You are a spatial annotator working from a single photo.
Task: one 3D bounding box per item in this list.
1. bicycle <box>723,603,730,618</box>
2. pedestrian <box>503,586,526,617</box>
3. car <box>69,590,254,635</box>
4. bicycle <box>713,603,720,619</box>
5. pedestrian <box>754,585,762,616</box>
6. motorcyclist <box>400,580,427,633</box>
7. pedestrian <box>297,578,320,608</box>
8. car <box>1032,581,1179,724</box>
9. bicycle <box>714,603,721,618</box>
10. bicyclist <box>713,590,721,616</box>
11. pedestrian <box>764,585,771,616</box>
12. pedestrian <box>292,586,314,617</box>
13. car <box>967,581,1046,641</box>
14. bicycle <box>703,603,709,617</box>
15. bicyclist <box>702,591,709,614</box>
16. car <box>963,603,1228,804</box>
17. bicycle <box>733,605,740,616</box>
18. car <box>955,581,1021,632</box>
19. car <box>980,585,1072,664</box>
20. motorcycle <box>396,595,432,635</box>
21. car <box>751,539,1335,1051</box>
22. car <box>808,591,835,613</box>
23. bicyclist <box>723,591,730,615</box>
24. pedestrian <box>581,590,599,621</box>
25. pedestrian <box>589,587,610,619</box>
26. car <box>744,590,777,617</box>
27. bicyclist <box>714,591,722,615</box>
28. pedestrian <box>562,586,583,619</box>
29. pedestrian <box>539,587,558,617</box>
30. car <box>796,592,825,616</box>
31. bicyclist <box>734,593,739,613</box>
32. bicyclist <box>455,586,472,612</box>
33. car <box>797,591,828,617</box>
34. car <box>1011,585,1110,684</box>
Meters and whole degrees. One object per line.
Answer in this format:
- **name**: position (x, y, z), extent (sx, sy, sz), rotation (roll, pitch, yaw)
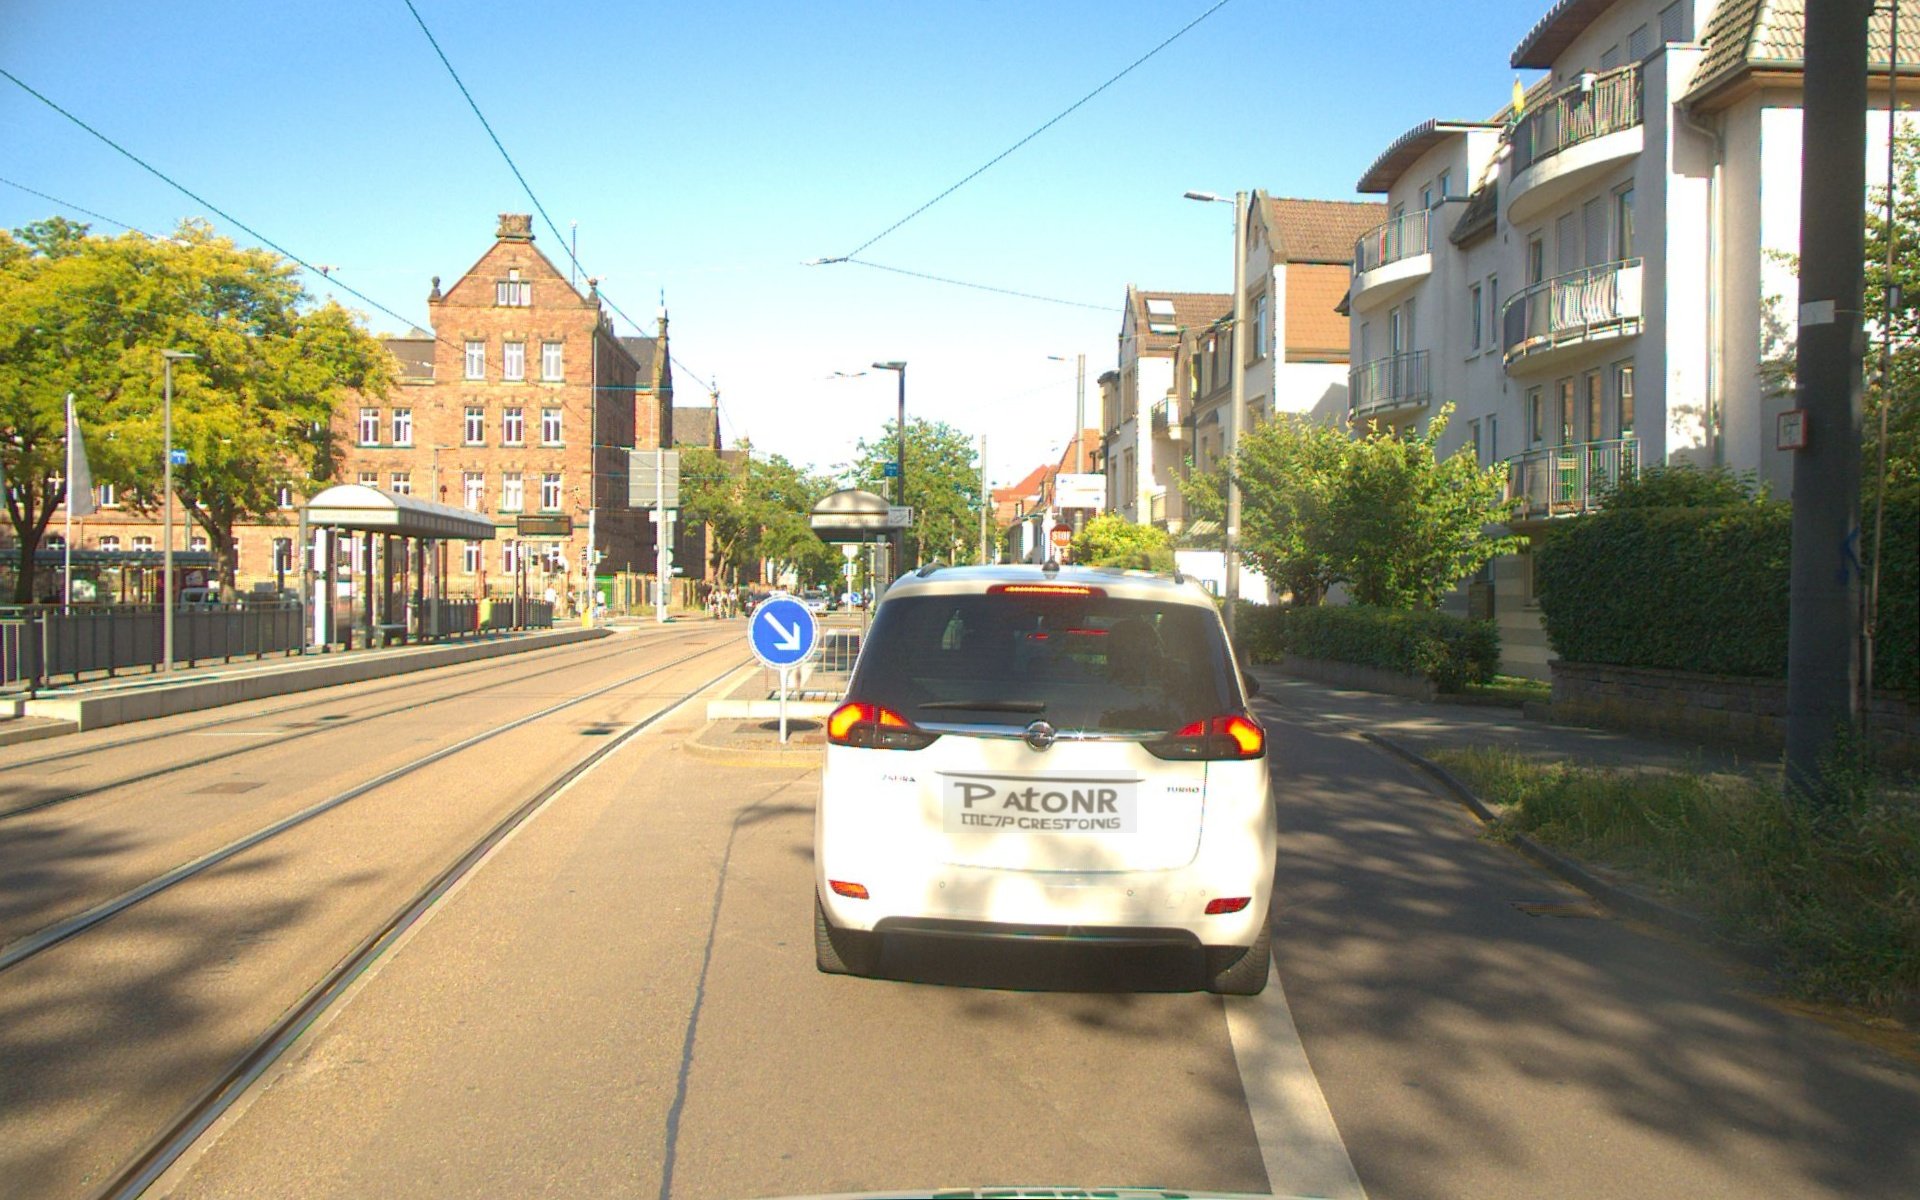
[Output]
- **bicycle**: position (-15.391, 0.687, 108.918), extent (0.337, 0.966, 0.996), rotation (1, 0, -4)
- **pedestrian**: position (-23.764, 0.068, 88.258), extent (0.928, 1.616, 0.791), rotation (1, -1, -44)
- **car**: position (-35.722, 0.546, 74.190), extent (6.810, 1.954, 2.991), rotation (0, 0, -2)
- **bicycle**: position (-15.160, 0.665, 102.840), extent (0.337, 0.966, 1.159), rotation (1, 0, -4)
- **pedestrian**: position (-13.644, 0.019, 111.717), extent (0.435, 2.049, 0.495), rotation (0, 0, -4)
- **motorcyclist**: position (-17.000, 0.202, 51.440), extent (0.601, 1.650, 0.843), rotation (0, 0, -6)
- **pedestrian**: position (-34.657, -0.364, 87.965), extent (0.913, 1.616, 0.804), rotation (0, 0, -2)
- **car**: position (1.746, 0.591, 20.845), extent (1.603, 1.629, 3.855), rotation (0, 0, 1)
- **bicycle**: position (-15.609, 0.673, 106.366), extent (0.337, 0.966, 0.996), rotation (1, 0, -4)
- **bicyclist**: position (-15.151, 0.190, 103.049), extent (0.435, 1.580, 0.742), rotation (0, 0, -4)
- **pedestrian**: position (-13.039, 0.031, 112.056), extent (0.435, 2.049, 0.495), rotation (0, 0, -4)
- **pedestrian**: position (-34.782, 0.064, 87.608), extent (0.916, 1.616, 0.802), rotation (1, 0, -13)
- **car**: position (1.204, 0.265, 44.314), extent (1.953, 1.529, 3.999), rotation (0, 0, -1)
- **bicycle**: position (-17.653, 0.674, 114.859), extent (0.337, 0.966, 0.996), rotation (1, 0, -4)
- **bicyclist**: position (-17.647, 0.198, 114.823), extent (0.435, 1.580, 0.495), rotation (0, 0, -4)
- **car**: position (1.036, 0.754, 13.986), extent (1.912, 1.422, 4.001), rotation (0, 0, 1)
- **bicycle**: position (-15.059, 0.687, 111.427), extent (0.337, 0.737, 0.996), rotation (1, 0, -4)
- **car**: position (0.833, 0.199, 51.769), extent (1.953, 1.529, 3.999), rotation (0, 0, -1)
- **car**: position (1.384, 0.499, 36.192), extent (1.793, 1.607, 4.009), rotation (0, 0, -1)
- **motorcycle**: position (-17.012, 0.444, 51.540), extent (0.599, 1.219, 2.073), rotation (0, 0, -5)
- **car**: position (0.462, 0.654, 7.598), extent (1.951, 1.673, 3.996), rotation (1, 0, 6)
- **car**: position (-10.939, 0.155, 130.484), extent (1.953, 1.657, 3.998), rotation (0, 0, -3)
- **bicyclist**: position (-15.381, 0.212, 108.912), extent (0.435, 1.580, 0.495), rotation (0, 0, -4)
- **pedestrian**: position (-21.284, 0.332, 95.128), extent (0.719, 1.744, 0.706), rotation (1, -1, 22)
- **pedestrian**: position (-19.308, 0.167, 88.664), extent (0.877, 1.713, 1.029), rotation (1, 0, -1)
- **car**: position (-12.854, 0.208, 106.887), extent (1.955, 1.657, 3.996), rotation (0, 0, -5)
- **bicyclist**: position (-15.572, 0.198, 106.324), extent (0.435, 1.580, 0.495), rotation (0, 0, -4)
- **pedestrian**: position (-20.672, 0.150, 88.230), extent (0.825, 1.721, 1.029), rotation (1, 0, -1)
- **pedestrian**: position (-22.031, 0.099, 88.543), extent (0.786, 1.616, 0.934), rotation (1, 0, -3)
- **car**: position (-10.349, 0.274, 114.254), extent (1.955, 1.657, 3.996), rotation (0, 0, -5)
- **bicyclist**: position (-15.057, 0.214, 111.424), extent (0.352, 1.326, 0.397), rotation (0, 0, -4)
- **bicyclist**: position (-27.818, -0.070, 92.687), extent (0.743, 1.455, 0.515), rotation (1, -1, -3)
- **car**: position (-9.544, 0.257, 107.161), extent (1.955, 1.657, 3.996), rotation (0, 0, -5)
- **car**: position (1.718, 0.557, 29.273), extent (1.603, 1.629, 3.855), rotation (0, 0, 1)
